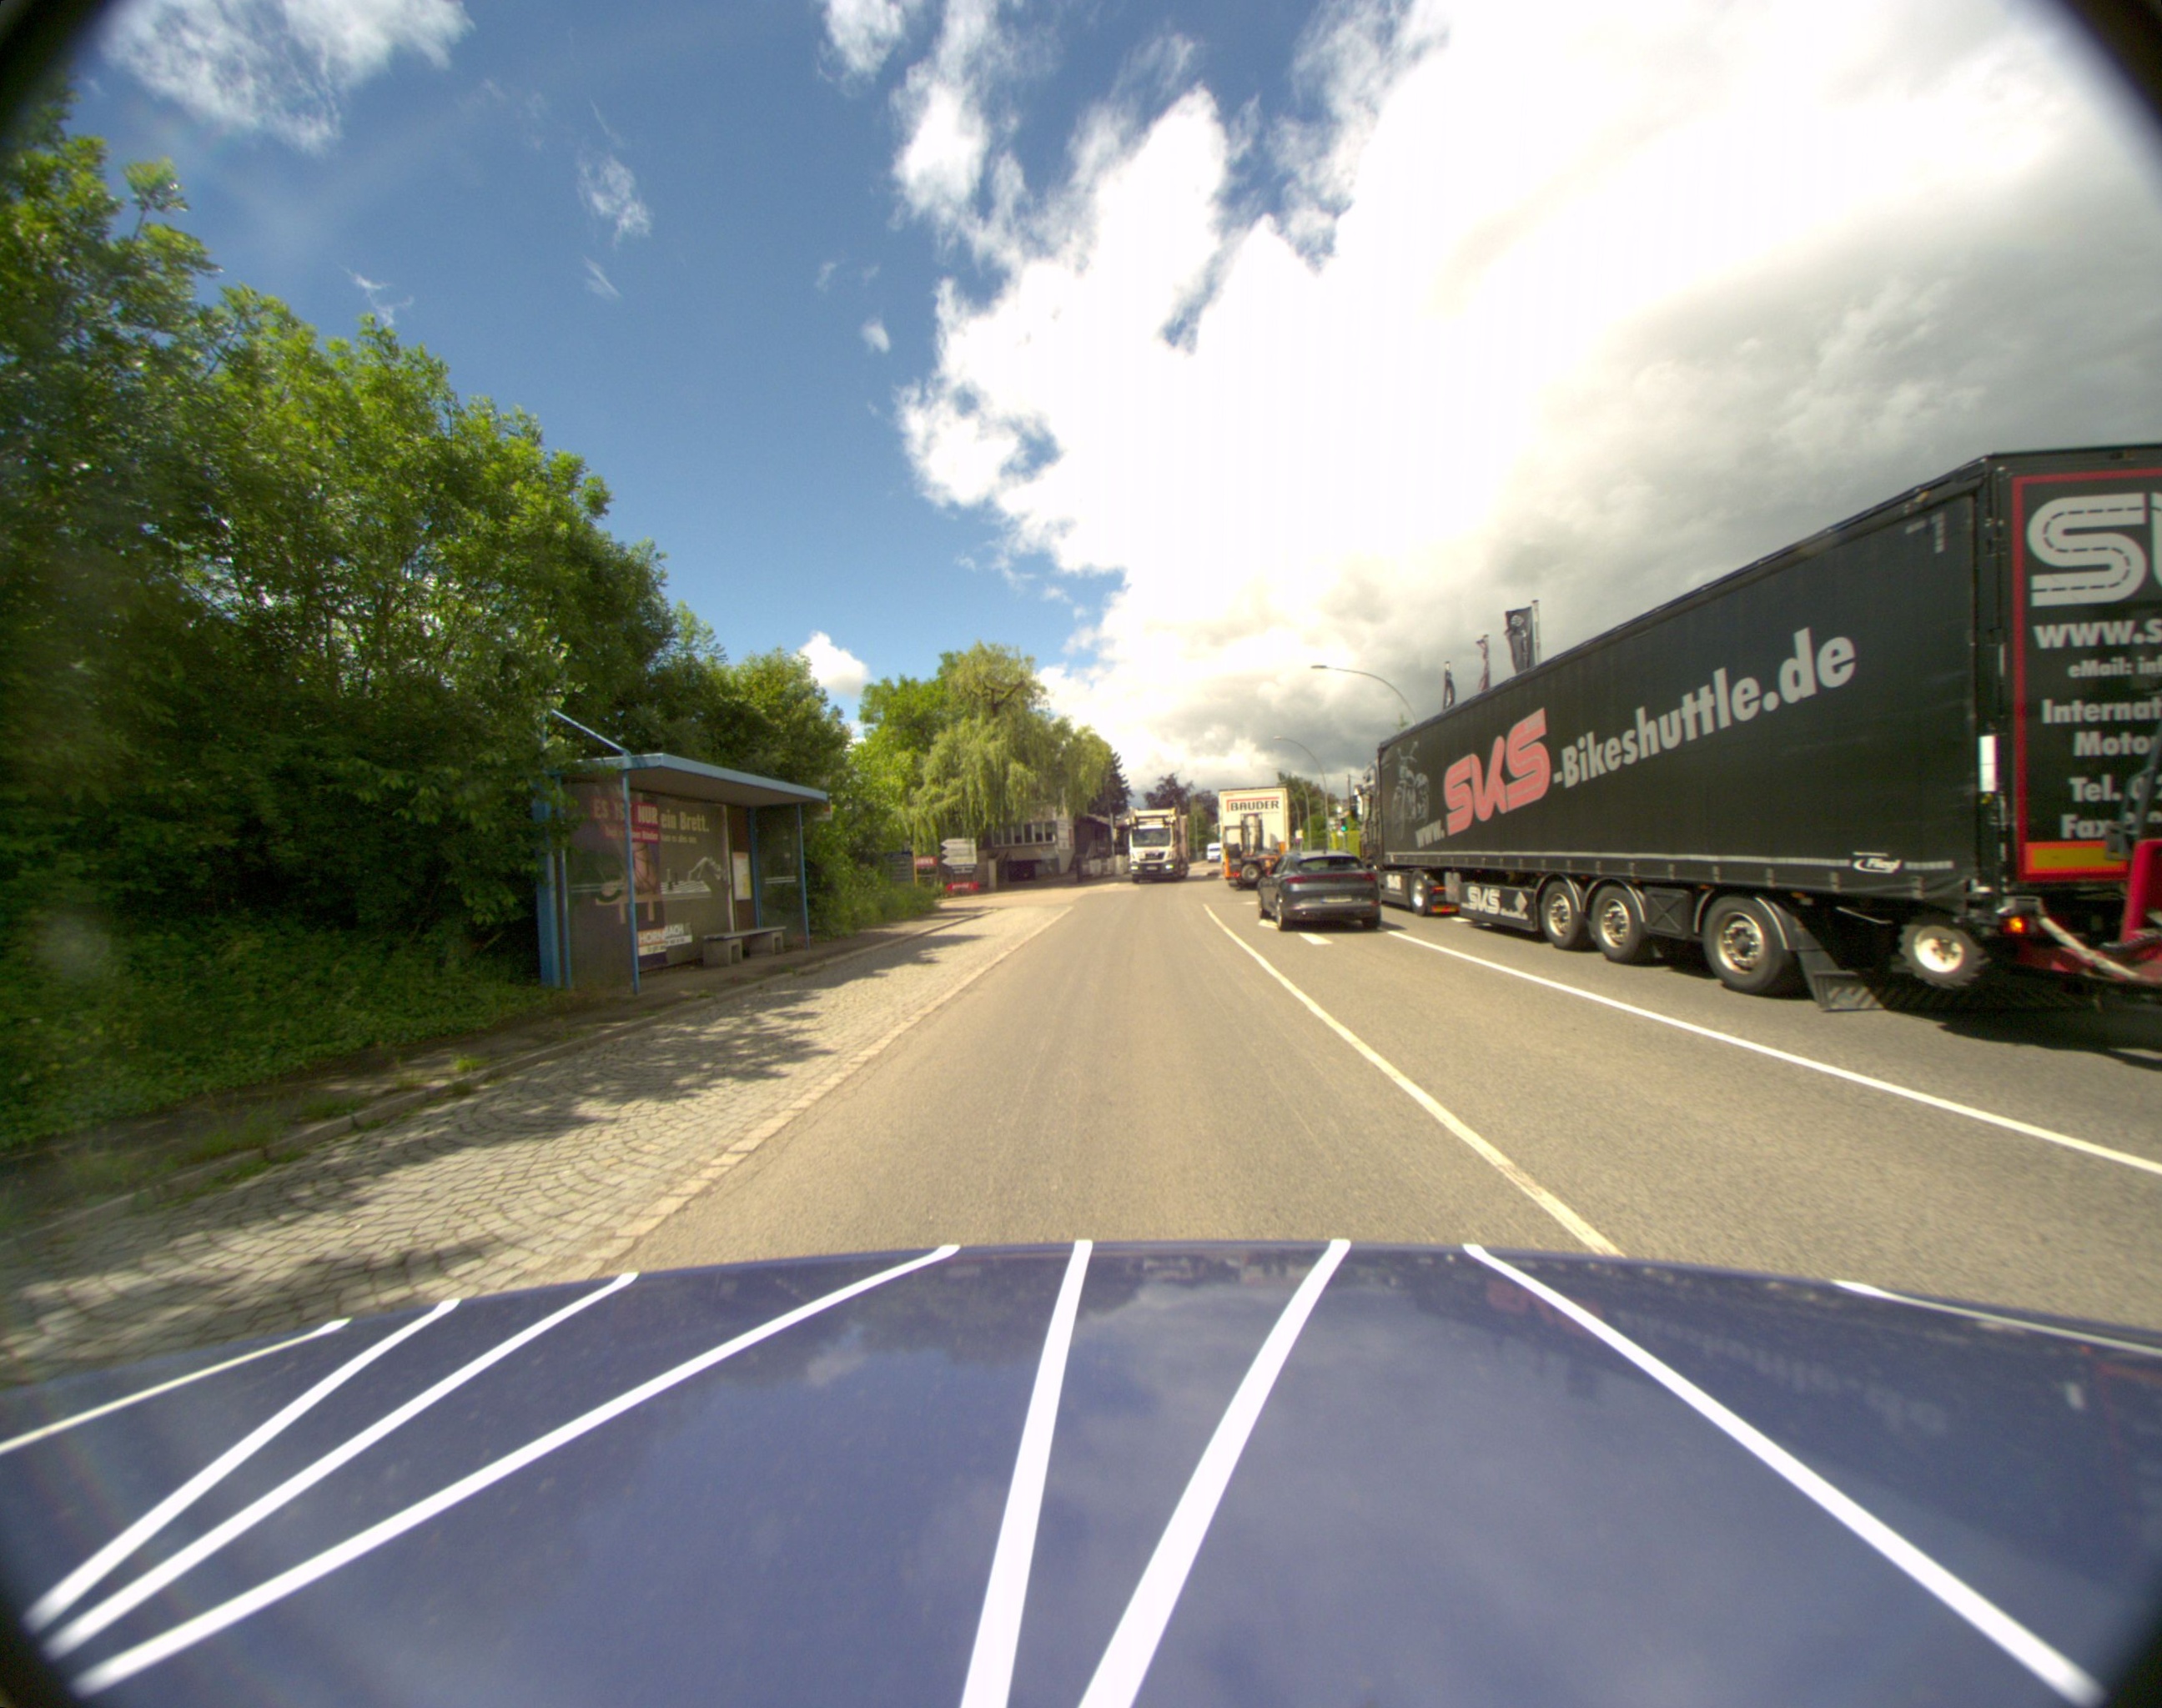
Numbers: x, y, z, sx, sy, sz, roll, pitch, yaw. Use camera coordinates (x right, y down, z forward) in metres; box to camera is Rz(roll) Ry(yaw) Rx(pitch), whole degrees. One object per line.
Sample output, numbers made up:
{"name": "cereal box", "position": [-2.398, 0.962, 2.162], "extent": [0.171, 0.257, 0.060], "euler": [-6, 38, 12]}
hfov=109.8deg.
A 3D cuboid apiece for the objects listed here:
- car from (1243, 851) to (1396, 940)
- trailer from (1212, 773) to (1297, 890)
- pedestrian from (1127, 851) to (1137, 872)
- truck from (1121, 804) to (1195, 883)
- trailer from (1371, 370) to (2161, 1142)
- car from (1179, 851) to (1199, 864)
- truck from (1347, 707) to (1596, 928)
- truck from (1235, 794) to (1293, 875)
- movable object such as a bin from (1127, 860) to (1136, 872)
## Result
{"name": "car", "position": [4.542, 0.709, 15.183], "extent": [1.844, 1.455, 4.254], "euler": [-2, 0, 2]}
{"name": "trailer", "position": [8.304, -0.944, 35.137], "extent": [2.775, 4.120, 15.365], "euler": [-3, 0, 15]}
{"name": "pedestrian", "position": [3.821, 0.569, 56.867], "extent": [0.733, 1.534, 0.841], "euler": [-1, 1, 3]}
{"name": "truck", "position": [4.549, -0.584, 42.621], "extent": [2.662, 3.789, 9.824], "euler": [-3, 0, 13]}
{"name": "trailer", "position": [7.799, -0.629, 10.786], "extent": [2.805, 4.029, 15.561], "euler": [-3, 0, 6]}
{"name": "car", "position": [14.813, 0.440, 104.121], "extent": [1.860, 1.521, 5.208], "euler": [-3, 0, 16]}
{"name": "truck", "position": [8.534, -0.703, 17.651], "extent": [2.805, 4.029, 6.503], "euler": [-3, 0, 6]}
{"name": "truck", "position": [10.345, -1.057, 42.663], "extent": [2.775, 4.095, 4.991], "euler": [-3, 1, 15]}
{"name": "movable object such as a bin", "position": [3.836, 0.900, 57.564], "extent": [0.670, 0.866, 0.748], "euler": [-1, 1, 3]}
